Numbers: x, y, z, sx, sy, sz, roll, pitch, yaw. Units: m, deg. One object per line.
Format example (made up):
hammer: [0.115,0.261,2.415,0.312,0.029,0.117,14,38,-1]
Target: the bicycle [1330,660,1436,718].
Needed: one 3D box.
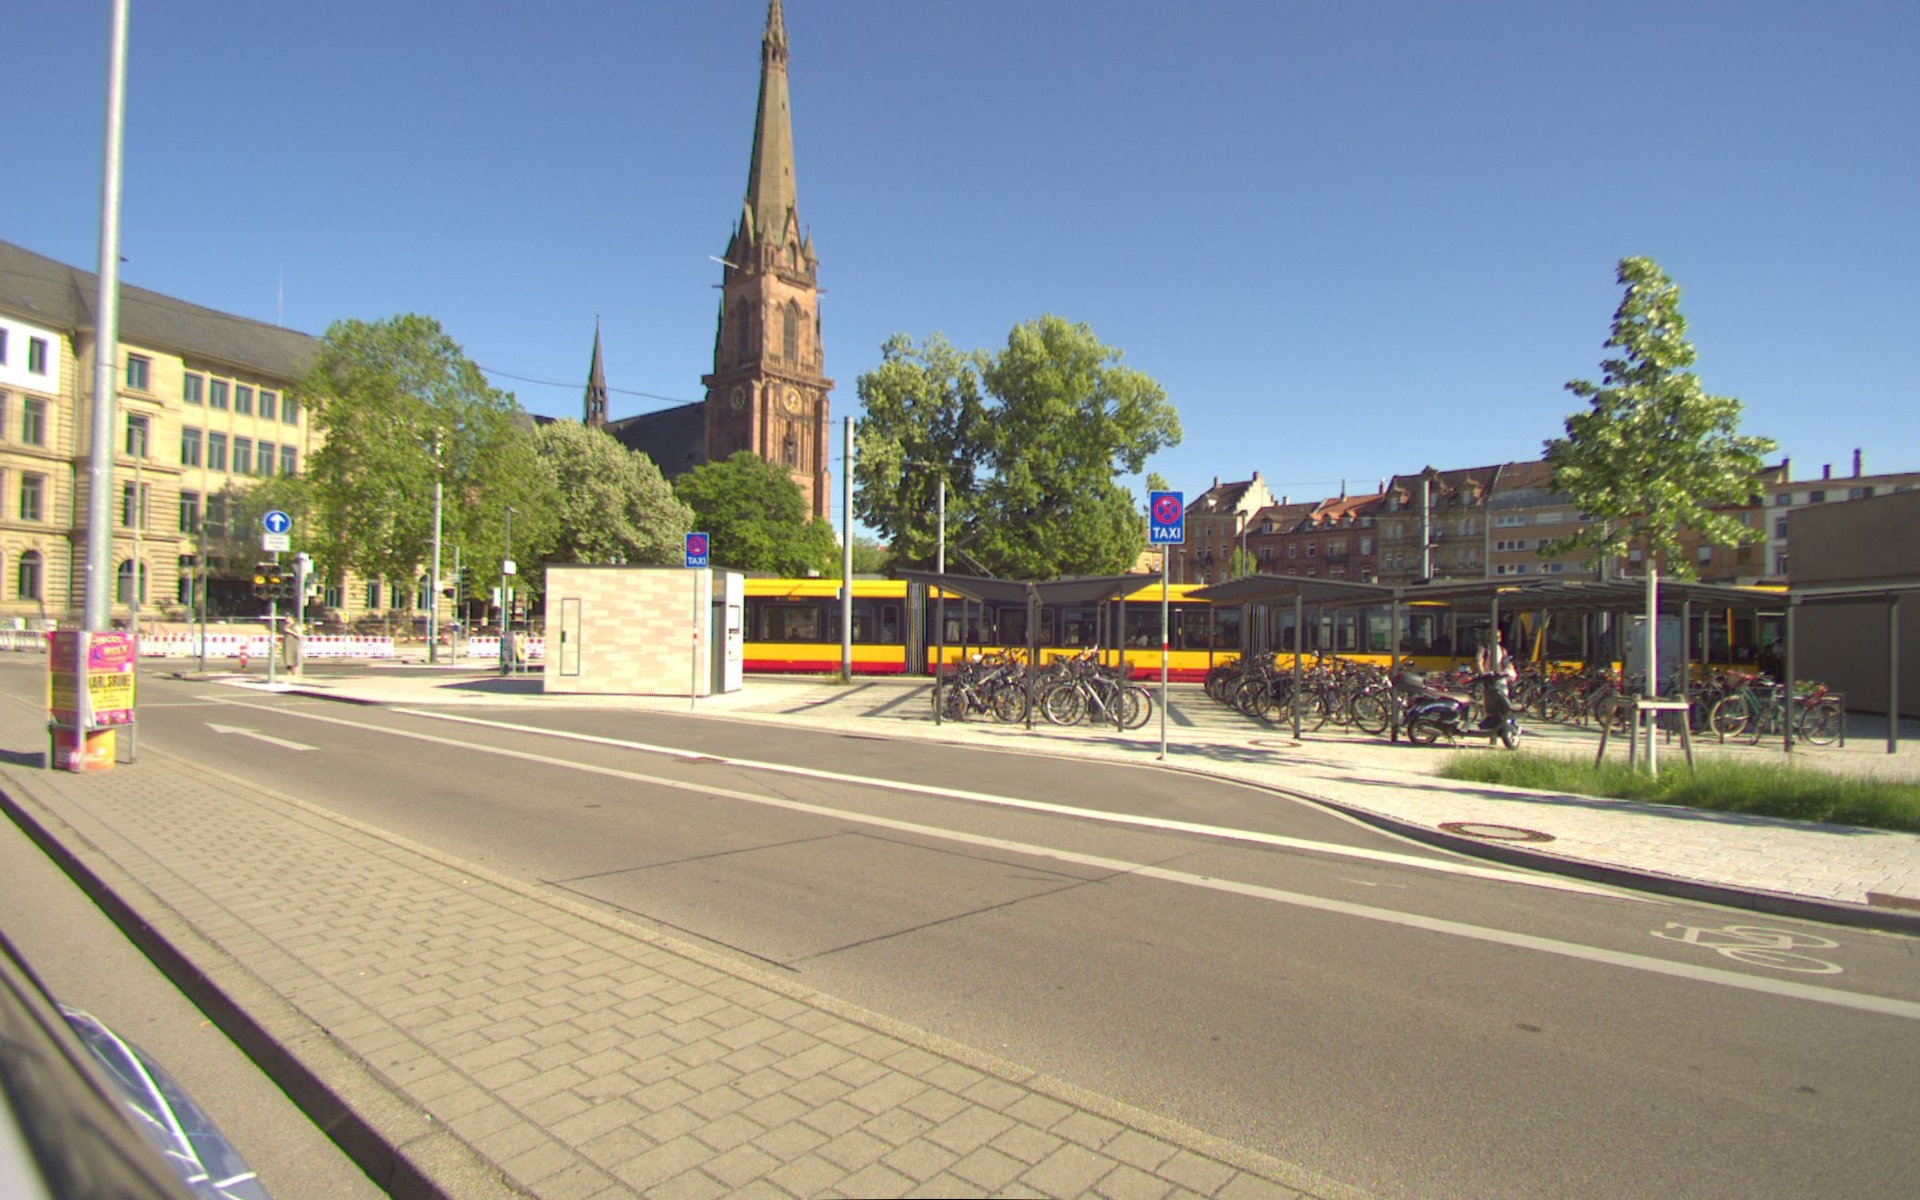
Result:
bicycle: [8.346,1.752,20.022,1.808,1.088,0.627,0,-2,7]

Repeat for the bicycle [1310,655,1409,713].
bicycle: [8.382,1.752,21.287,1.808,1.170,0.627,0,-2,7]

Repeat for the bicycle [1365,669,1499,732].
bicycle: [8.191,1.734,17.636,2.003,1.015,0.627,0,-2,7]

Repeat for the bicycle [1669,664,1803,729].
bicycle: [13.862,1.717,18.119,1.808,1.101,0.627,0,-2,7]

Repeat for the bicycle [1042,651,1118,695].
bicycle: [2.904,1.770,24.569,1.808,1.015,0.627,0,-2,7]

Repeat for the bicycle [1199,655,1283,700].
bicycle: [6.523,1.795,23.558,1.808,1.015,0.627,0,-2,6]

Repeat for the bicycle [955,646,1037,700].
bicycle: [0.834,1.659,23.175,1.809,1.188,0.627,0,-2,9]

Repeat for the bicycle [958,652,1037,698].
bicycle: [0.892,1.763,23.874,1.809,1.015,0.627,0,-2,9]

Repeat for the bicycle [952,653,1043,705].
bicycle: [0.784,1.625,20.900,1.809,1.015,0.627,0,-2,9]

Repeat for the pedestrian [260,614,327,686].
pedestrian: [-17.814,1.327,27.066,0.824,1.869,1.217,-1,-2,30]

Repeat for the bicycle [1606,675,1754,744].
bicycle: [11.430,1.723,16.109,1.809,1.015,0.627,0,-2,9]

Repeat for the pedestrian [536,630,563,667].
pedestrian: [-19.593,2.320,48.330,0.923,1.754,0.805,0,-2,5]

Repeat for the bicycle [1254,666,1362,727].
bicycle: [6.125,1.690,17.892,1.731,1.015,0.547,0,-2,10]

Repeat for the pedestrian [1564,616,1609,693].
pedestrian: [15.647,1.350,25.284,0.700,1.869,0.751,2,-2,-38]

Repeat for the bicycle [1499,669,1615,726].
bicycle: [11.534,1.876,19.600,1.809,1.015,0.627,0,-2,9]

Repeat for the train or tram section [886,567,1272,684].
train or tram section: [3.788,0.820,33.576,12.174,3.629,2.796,0,-2,6]

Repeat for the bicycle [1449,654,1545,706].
bicycle: [12.273,1.820,23.162,1.809,1.140,0.627,0,-2,9]

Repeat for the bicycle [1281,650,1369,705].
bicycle: [8.508,1.793,23.636,1.808,1.242,0.627,0,-2,7]

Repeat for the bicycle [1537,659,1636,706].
bicycle: [14.325,1.886,23.165,1.808,1.015,0.627,0,-2,7]

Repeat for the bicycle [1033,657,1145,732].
bicycle: [2.136,1.562,16.893,1.808,1.167,0.627,1,-2,7]

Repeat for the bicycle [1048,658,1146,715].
bicycle: [2.592,1.643,19.301,1.808,1.015,0.745,0,-2,7]

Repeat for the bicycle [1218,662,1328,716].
bicycle: [6.221,1.767,20.191,1.978,1.015,0.628,0,-2,4]

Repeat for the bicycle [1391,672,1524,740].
bicycle: [8.039,1.706,16.410,1.808,1.015,0.627,0,-2,7]

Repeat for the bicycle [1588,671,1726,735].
bicycle: [11.875,1.743,17.285,1.872,1.004,0.499,0,-2,13]

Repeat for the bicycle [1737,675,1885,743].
bicycle: [13.292,1.694,15.836,1.803,1.015,0.629,1,-2,-3]

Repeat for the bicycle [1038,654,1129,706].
bicycle: [2.501,1.618,20.608,1.808,1.015,0.627,0,-2,7]

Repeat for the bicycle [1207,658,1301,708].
bicycle: [6.241,1.764,21.565,1.805,1.015,0.629,0,-2,0]

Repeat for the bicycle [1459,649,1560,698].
bicycle: [11.959,1.582,22.067,1.809,1.015,0.627,0,-2,9]

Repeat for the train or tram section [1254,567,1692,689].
train or tram section: [15.906,0.857,32.292,12.174,3.629,2.828,0,-2,6]

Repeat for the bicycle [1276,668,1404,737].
bicycle: [6.249,1.680,16.738,1.871,1.050,0.688,0,-2,9]

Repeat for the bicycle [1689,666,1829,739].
bicycle: [13.263,1.688,16.824,1.805,1.155,0.629,0,-2,0]

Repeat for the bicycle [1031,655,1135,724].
bicycle: [2.181,1.584,18.036,1.808,1.157,0.627,0,-2,7]

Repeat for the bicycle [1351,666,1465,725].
bicycle: [8.272,1.753,18.730,1.808,1.015,0.627,0,-2,7]

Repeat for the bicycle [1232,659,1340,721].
bicycle: [6.148,1.688,19.170,1.859,1.101,0.626,0,-2,8]

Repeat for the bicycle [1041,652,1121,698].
bicycle: [2.782,1.714,23.369,1.808,1.015,0.627,0,-2,7]

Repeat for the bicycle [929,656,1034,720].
bicycle: [0.388,1.546,17.997,1.809,1.074,0.627,0,-2,9]

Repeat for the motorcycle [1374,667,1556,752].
motorcycle: [7.440,1.605,14.993,2.333,1.167,0.610,0,-2,7]

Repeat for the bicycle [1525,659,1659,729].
bicycle: [11.569,1.706,18.561,2.029,1.218,0.505,0,-2,8]

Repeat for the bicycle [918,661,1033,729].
bicycle: [0.277,1.590,17.126,1.847,1.015,0.699,2,-2,9]

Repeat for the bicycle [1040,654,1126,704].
bicycle: [2.649,1.697,21.883,1.808,1.015,0.627,0,-2,7]

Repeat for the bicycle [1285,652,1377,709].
bicycle: [8.200,1.775,22.438,1.808,1.198,0.647,0,-2,7]

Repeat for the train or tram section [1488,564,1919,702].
train or tram section: [21.852,0.886,28.444,12.179,3.629,2.748,0,-2,7]

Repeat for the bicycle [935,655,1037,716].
bicycle: [0.484,1.552,18.525,1.809,1.059,0.571,0,-2,9]

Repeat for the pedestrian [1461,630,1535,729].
pedestrian: [9.628,1.401,18.152,0.829,1.718,1.022,0,-2,7]

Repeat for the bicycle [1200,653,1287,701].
bicycle: [6.393,1.730,22.870,1.807,1.015,0.628,0,-2,5]

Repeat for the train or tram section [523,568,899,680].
train or tram section: [-8.425,0.799,34.866,12.382,3.629,2.796,0,-2,6]

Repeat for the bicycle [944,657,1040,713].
bicycle: [0.632,1.644,19.744,1.809,1.015,0.627,0,-2,9]

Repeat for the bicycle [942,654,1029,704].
bicycle: [0.561,1.702,21.931,1.809,1.015,0.627,0,-2,9]
